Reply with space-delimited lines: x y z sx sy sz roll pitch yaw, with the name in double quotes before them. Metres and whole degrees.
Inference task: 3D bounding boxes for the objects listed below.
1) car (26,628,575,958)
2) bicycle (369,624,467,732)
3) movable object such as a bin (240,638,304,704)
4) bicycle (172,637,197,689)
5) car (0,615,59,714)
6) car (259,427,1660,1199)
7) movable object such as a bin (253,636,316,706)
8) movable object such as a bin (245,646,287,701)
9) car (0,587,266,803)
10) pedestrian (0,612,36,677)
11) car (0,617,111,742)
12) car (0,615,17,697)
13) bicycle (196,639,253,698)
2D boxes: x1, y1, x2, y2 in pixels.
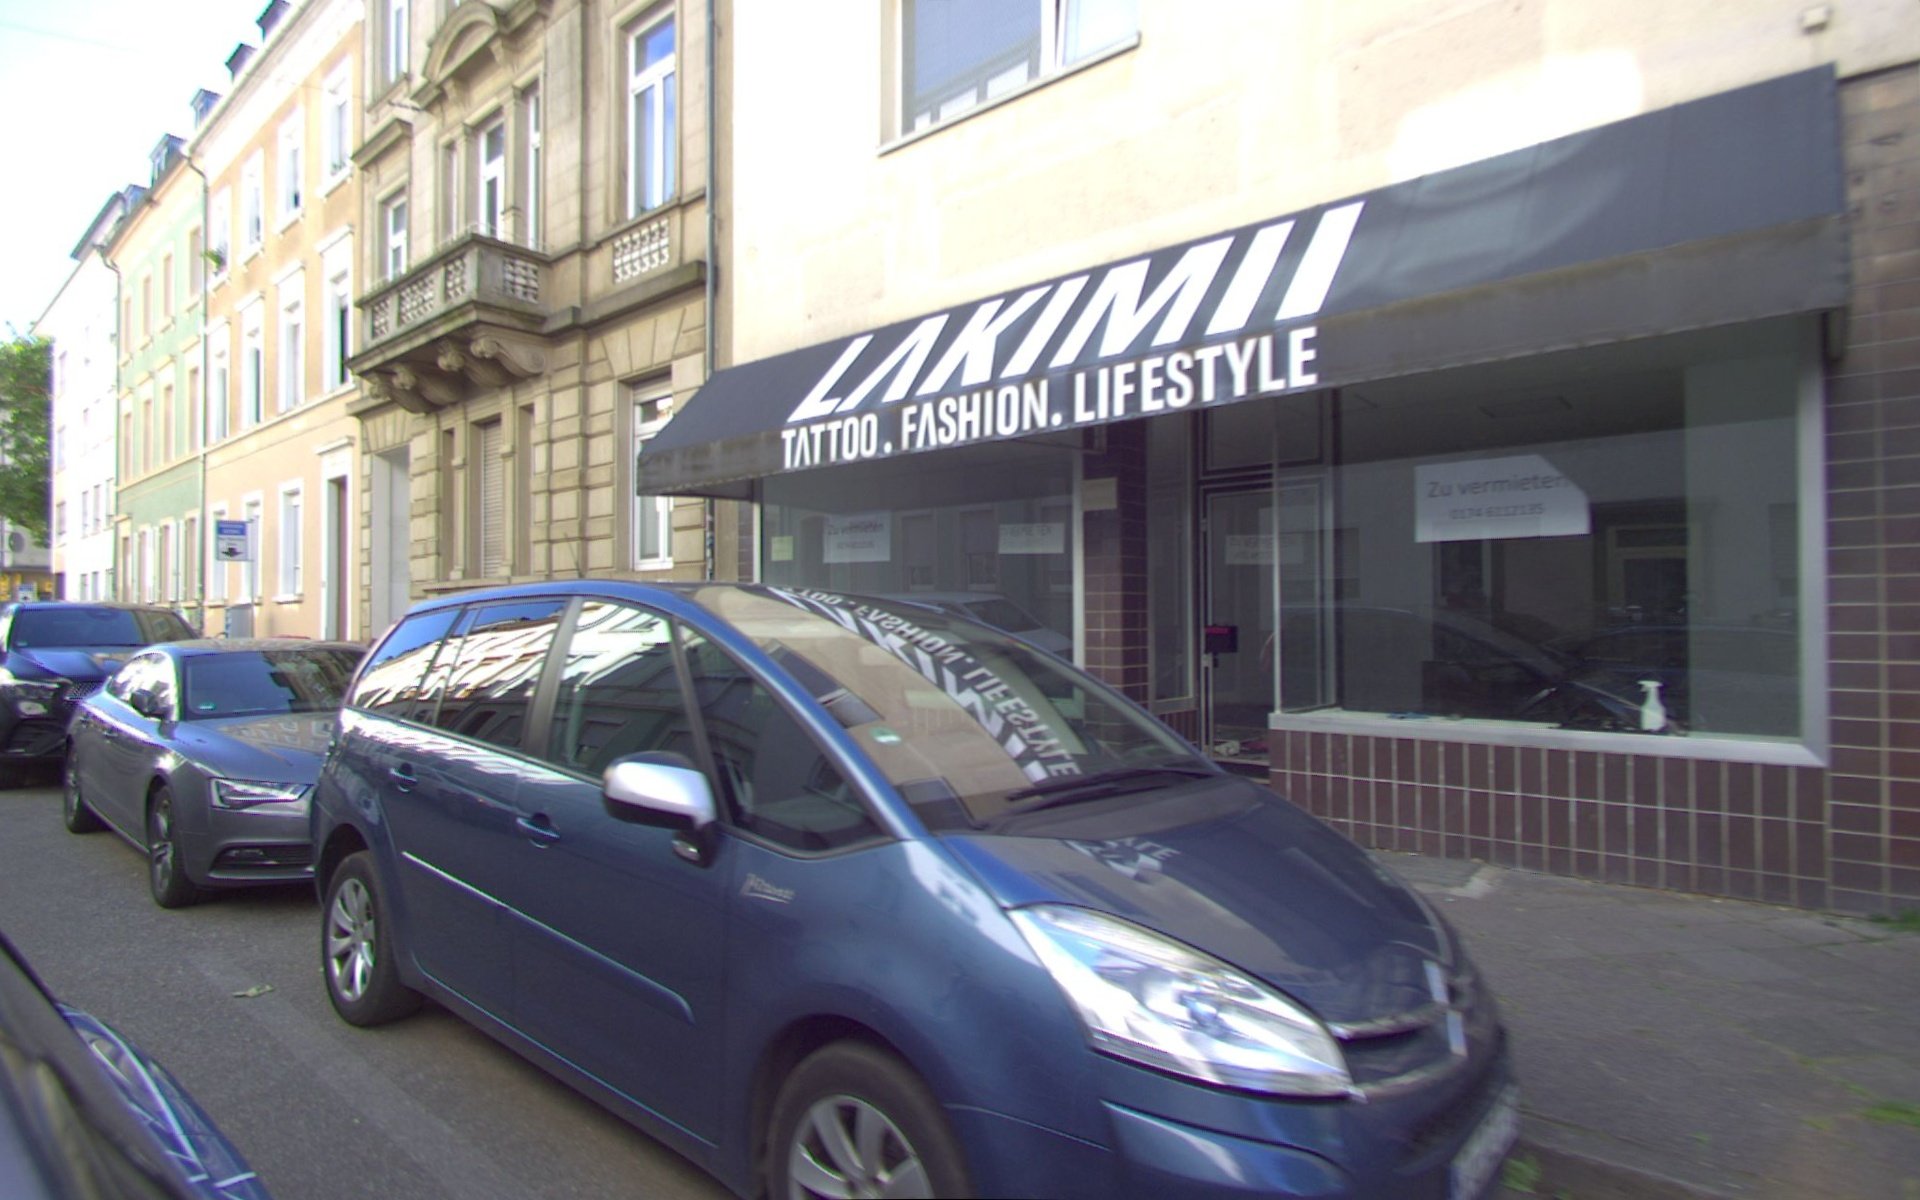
"car" -4.700 0.952 6.856 4.815 1.428 1.826 0 -3 41
"bicycle" -7.014 0.961 13.053 1.866 1.286 0.505 -1 -2 42
"movable object such as a bin" -11.900 1.214 17.510 0.681 1.097 0.728 -3 -3 37
"bicycle" -16.855 1.350 21.984 0.356 1.036 1.920 2 -2 -40
"car" -16.887 1.063 17.339 3.974 1.565 1.599 -1 -2 40
"car" -0.587 0.706 3.398 4.667 1.679 1.764 -1 -3 41
"movable object such as a bin" -11.420 1.180 17.117 0.584 1.140 0.713 0 -2 37
"movable object such as a bin" -12.389 1.298 18.059 0.560 0.944 0.468 -2 -1 39
"car" -9.169 0.843 10.551 5.139 1.749 1.916 -1 -3 41
"pedestrian" -27.857 1.288 29.720 1.245 1.846 0.901 -1 -2 41
"car" -13.357 1.026 14.136 4.366 1.543 1.695 -1 -3 42
"car" -21.226 1.151 21.178 4.601 1.627 1.725 -2 -4 42
"bicycle" -14.367 1.308 19.743 1.834 1.064 0.398 0 -2 38
